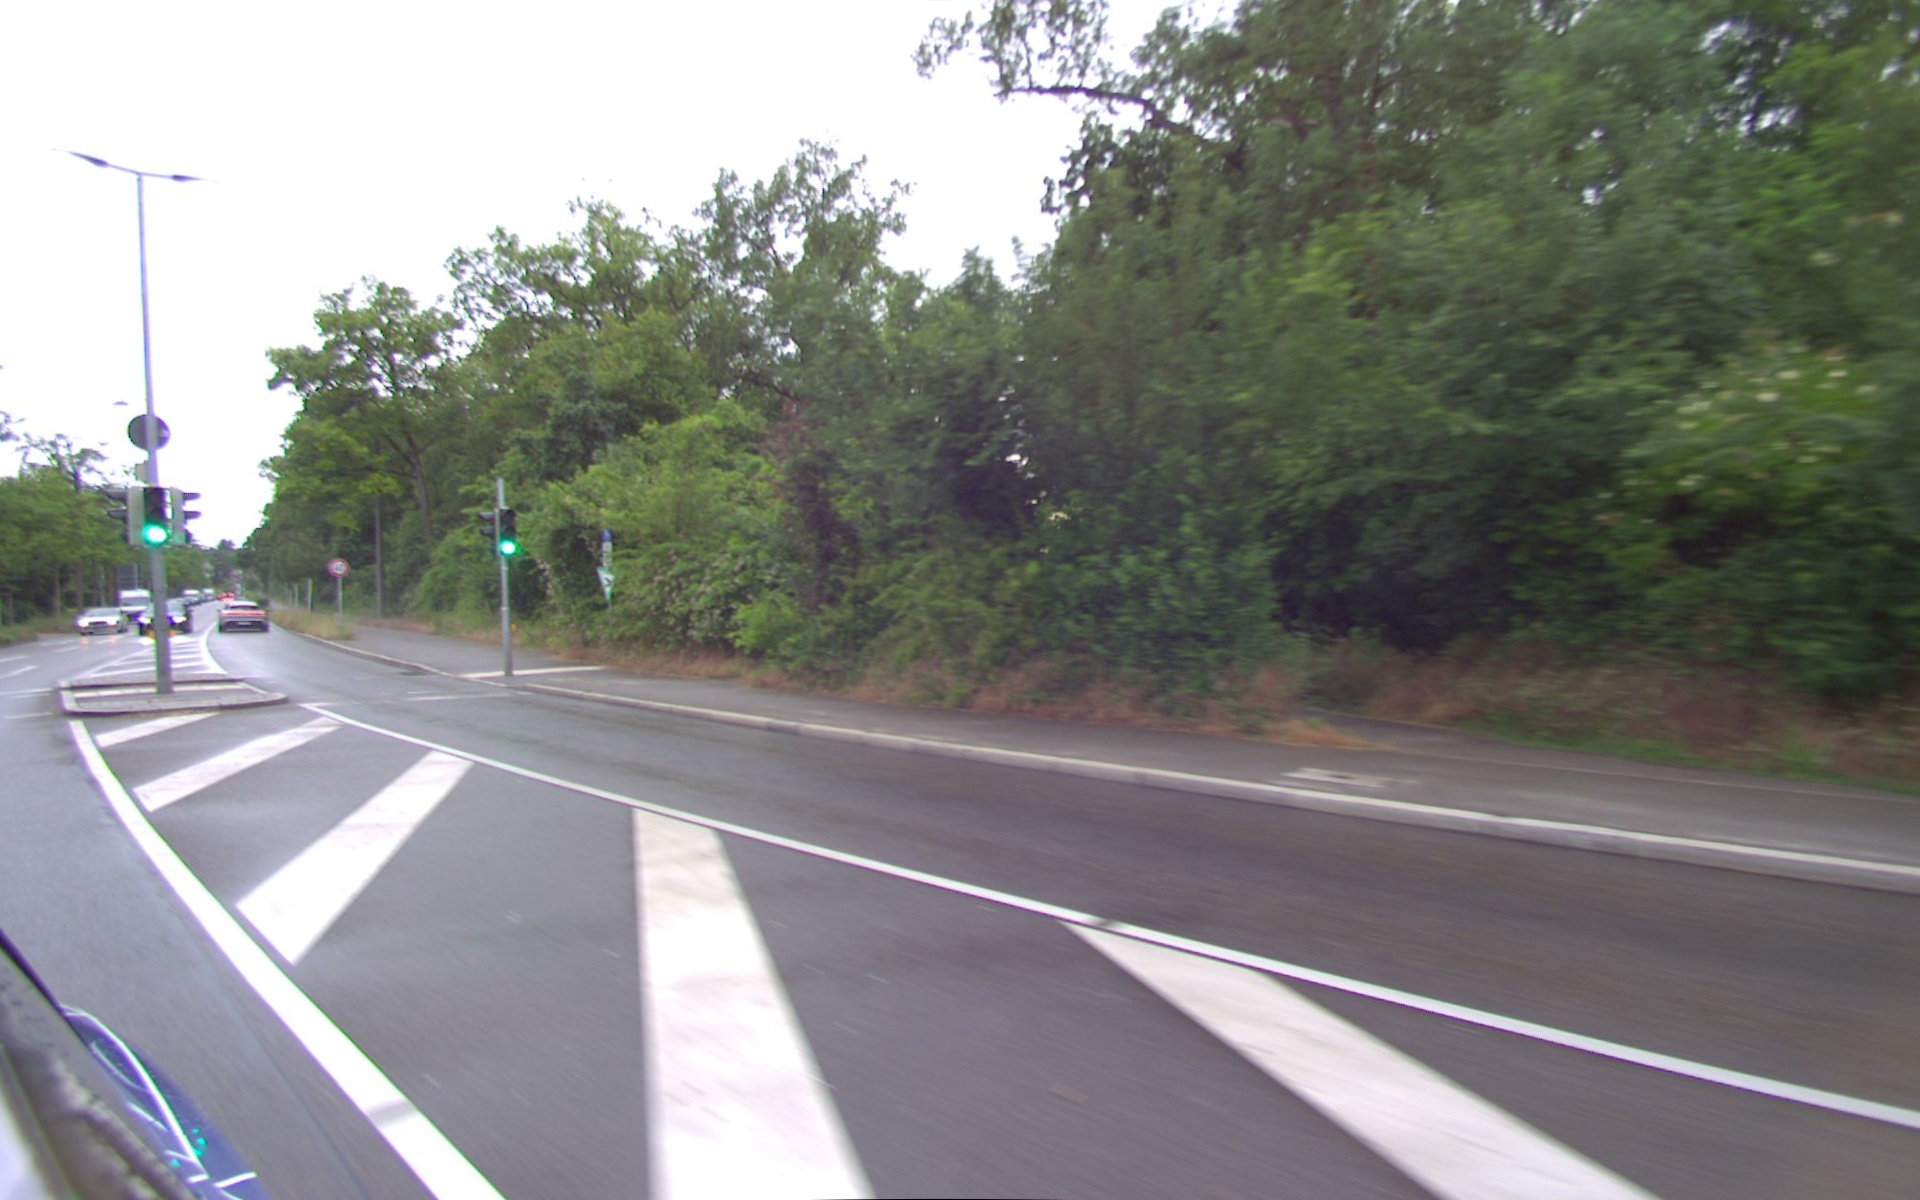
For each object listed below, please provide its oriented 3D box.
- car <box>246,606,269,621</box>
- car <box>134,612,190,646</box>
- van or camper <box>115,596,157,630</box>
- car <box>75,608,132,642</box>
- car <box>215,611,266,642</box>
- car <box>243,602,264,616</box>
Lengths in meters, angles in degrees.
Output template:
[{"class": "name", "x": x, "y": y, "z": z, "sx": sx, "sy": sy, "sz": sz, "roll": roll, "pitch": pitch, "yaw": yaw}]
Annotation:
[{"class": "car", "x": -78.395, "y": 1.504, "z": 112.918, "sx": 1.914, "sy": 1.615, "sz": 4.614, "roll": 0, "pitch": 0, "yaw": -37}, {"class": "car", "x": -36.049, "y": 1.273, "z": 45.758, "sx": 1.915, "sy": 1.466, "sz": 4.613, "roll": 0, "pitch": 0, "yaw": -38}, {"class": "van or camper", "x": -62.749, "y": 0.943, "z": 77.127, "sx": 1.967, "sy": 2.471, "sz": 4.734, "roll": -2, "pitch": 1, "yaw": -34}, {"class": "car", "x": -43.273, "y": 1.243, "z": 51.230, "sx": 1.914, "sy": 1.615, "sz": 4.614, "roll": 0, "pitch": 0, "yaw": -37}, {"class": "car", "x": -34.314, "y": 1.226, "z": 48.264, "sx": 1.914, "sy": 1.386, "sz": 4.615, "roll": 0, "pitch": 0, "yaw": -36}, {"class": "car", "x": -82.344, "y": 1.066, "z": 117.918, "sx": 1.914, "sy": 1.615, "sz": 4.614, "roll": 0, "pitch": 0, "yaw": -37}]
